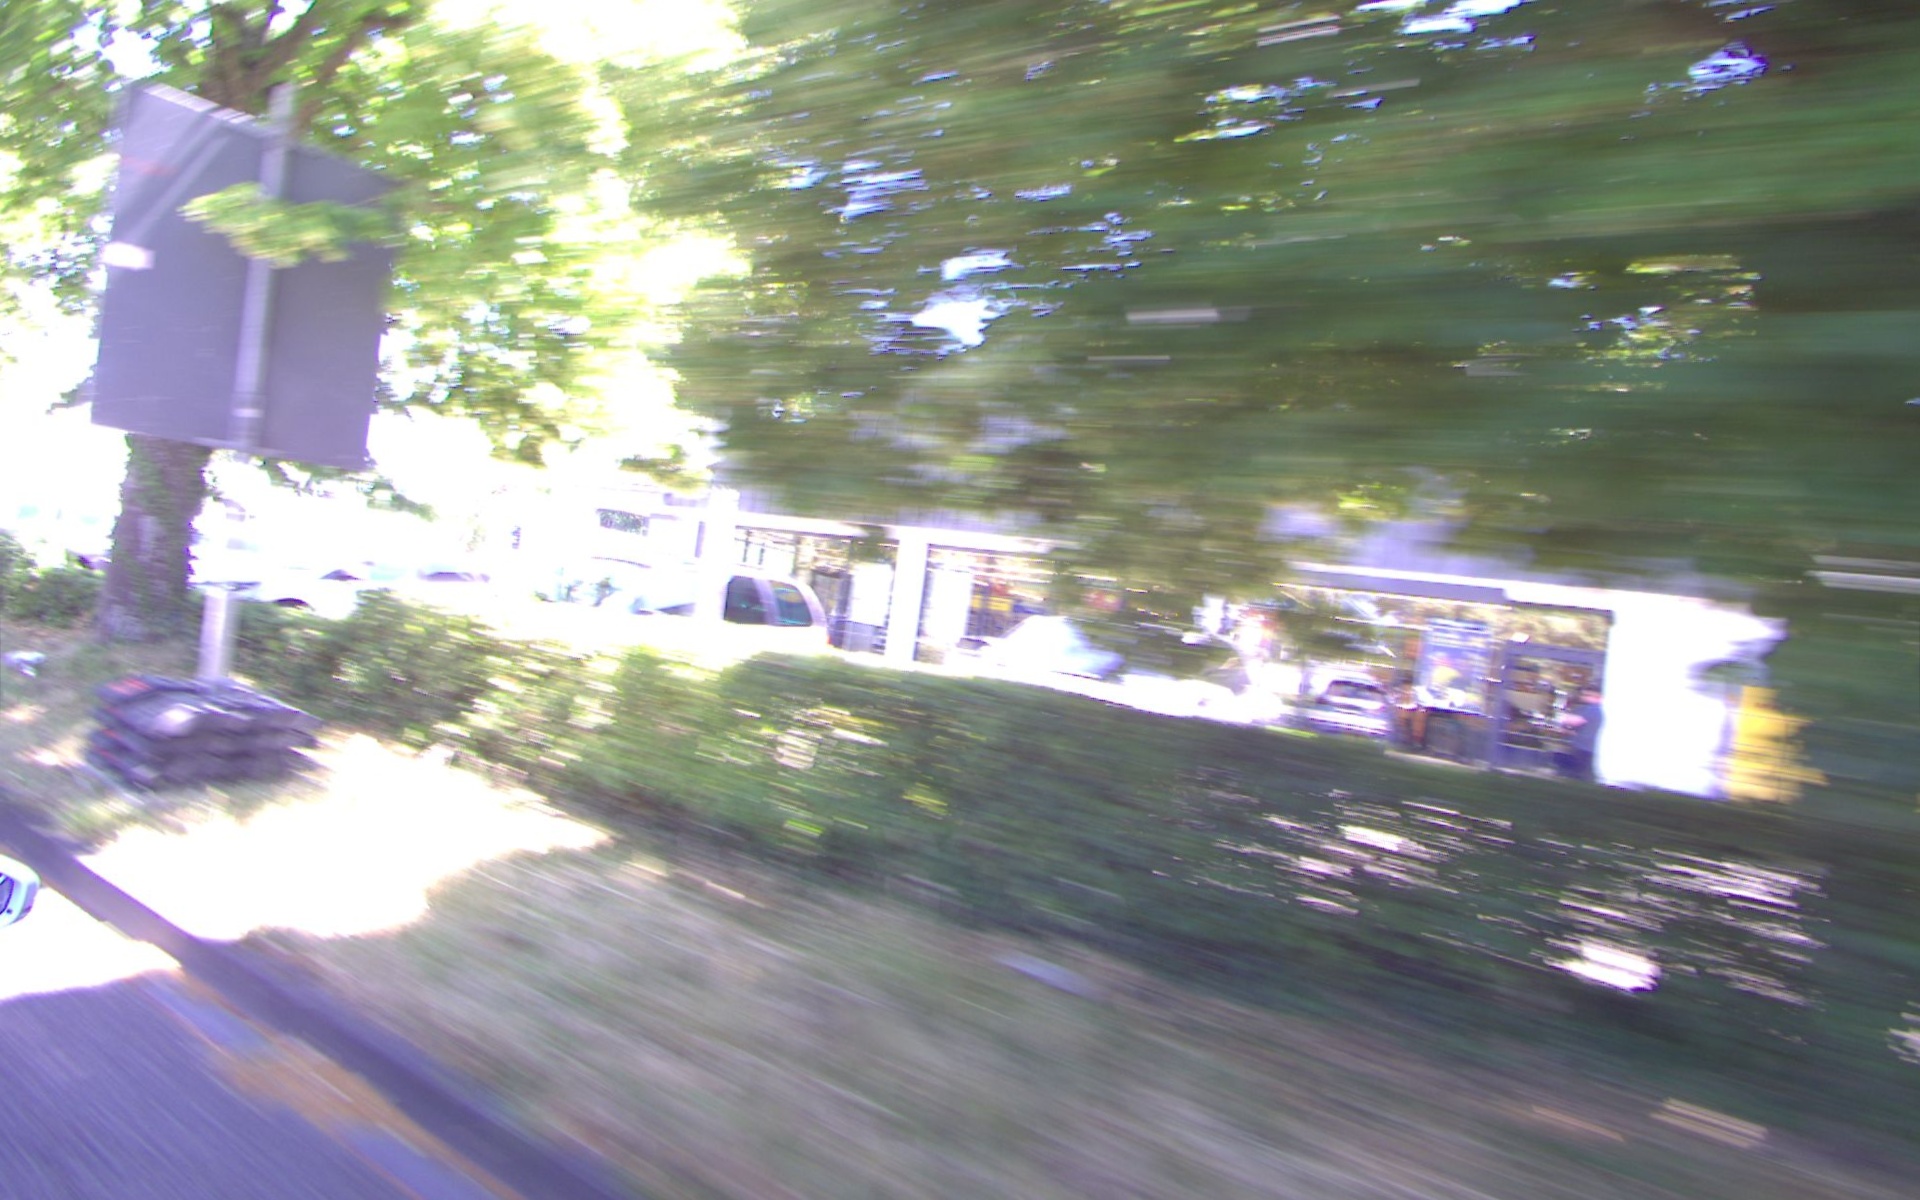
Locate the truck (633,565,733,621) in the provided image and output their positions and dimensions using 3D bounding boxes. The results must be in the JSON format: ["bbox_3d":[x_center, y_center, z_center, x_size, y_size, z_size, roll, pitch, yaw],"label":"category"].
[{"bbox_3d":[-16.089,-0.371,58.762,2.142,2.485,5.484,7,-3,30],"label":"truck"}]

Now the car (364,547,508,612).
[{"bbox_3d":[-16.369,-0.609,31.593,1.643,1.432,3.607,7,-3,28],"label":"car"}]

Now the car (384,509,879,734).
[{"bbox_3d":[-3.072,0.381,10.694,1.965,1.695,4.863,7,-3,28],"label":"car"}]

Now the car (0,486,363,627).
[{"bbox_3d":[-11.909,-0.576,15.463,1.777,1.498,4.324,7,-2,26],"label":"car"}]

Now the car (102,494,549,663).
[{"bbox_3d":[-7.590,-0.145,12.559,1.918,1.427,4.244,7,-2,26],"label":"car"}]

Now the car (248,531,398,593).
[{"bbox_3d":[-22.456,-1.301,35.619,1.698,1.493,4.030,6,-3,29],"label":"car"}]

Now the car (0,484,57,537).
[{"bbox_3d":[-40.524,-3.900,42.623,4.181,1.912,1.711,7,-2,25],"label":"car"}]

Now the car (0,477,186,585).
[{"bbox_3d":[-16.201,-1.282,17.905,1.554,1.524,3.408,8,-1,25],"label":"car"}]

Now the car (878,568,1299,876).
[{"bbox_3d":[1.318,0.890,8.146,1.965,1.658,3.998,7,-2,28],"label":"car"}]

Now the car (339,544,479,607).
[{"bbox_3d":[-18.210,-0.768,33.401,1.716,1.474,3.607,7,-3,28],"label":"car"}]

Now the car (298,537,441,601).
[{"bbox_3d":[-20.186,-1.031,34.553,1.787,1.520,3.734,7,-3,28],"label":"car"}]

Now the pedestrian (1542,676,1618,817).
[{"bbox_3d":[8.427,1.971,13.691,0.687,1.761,0.762,6,-1,31],"label":"pedestrian"}]
